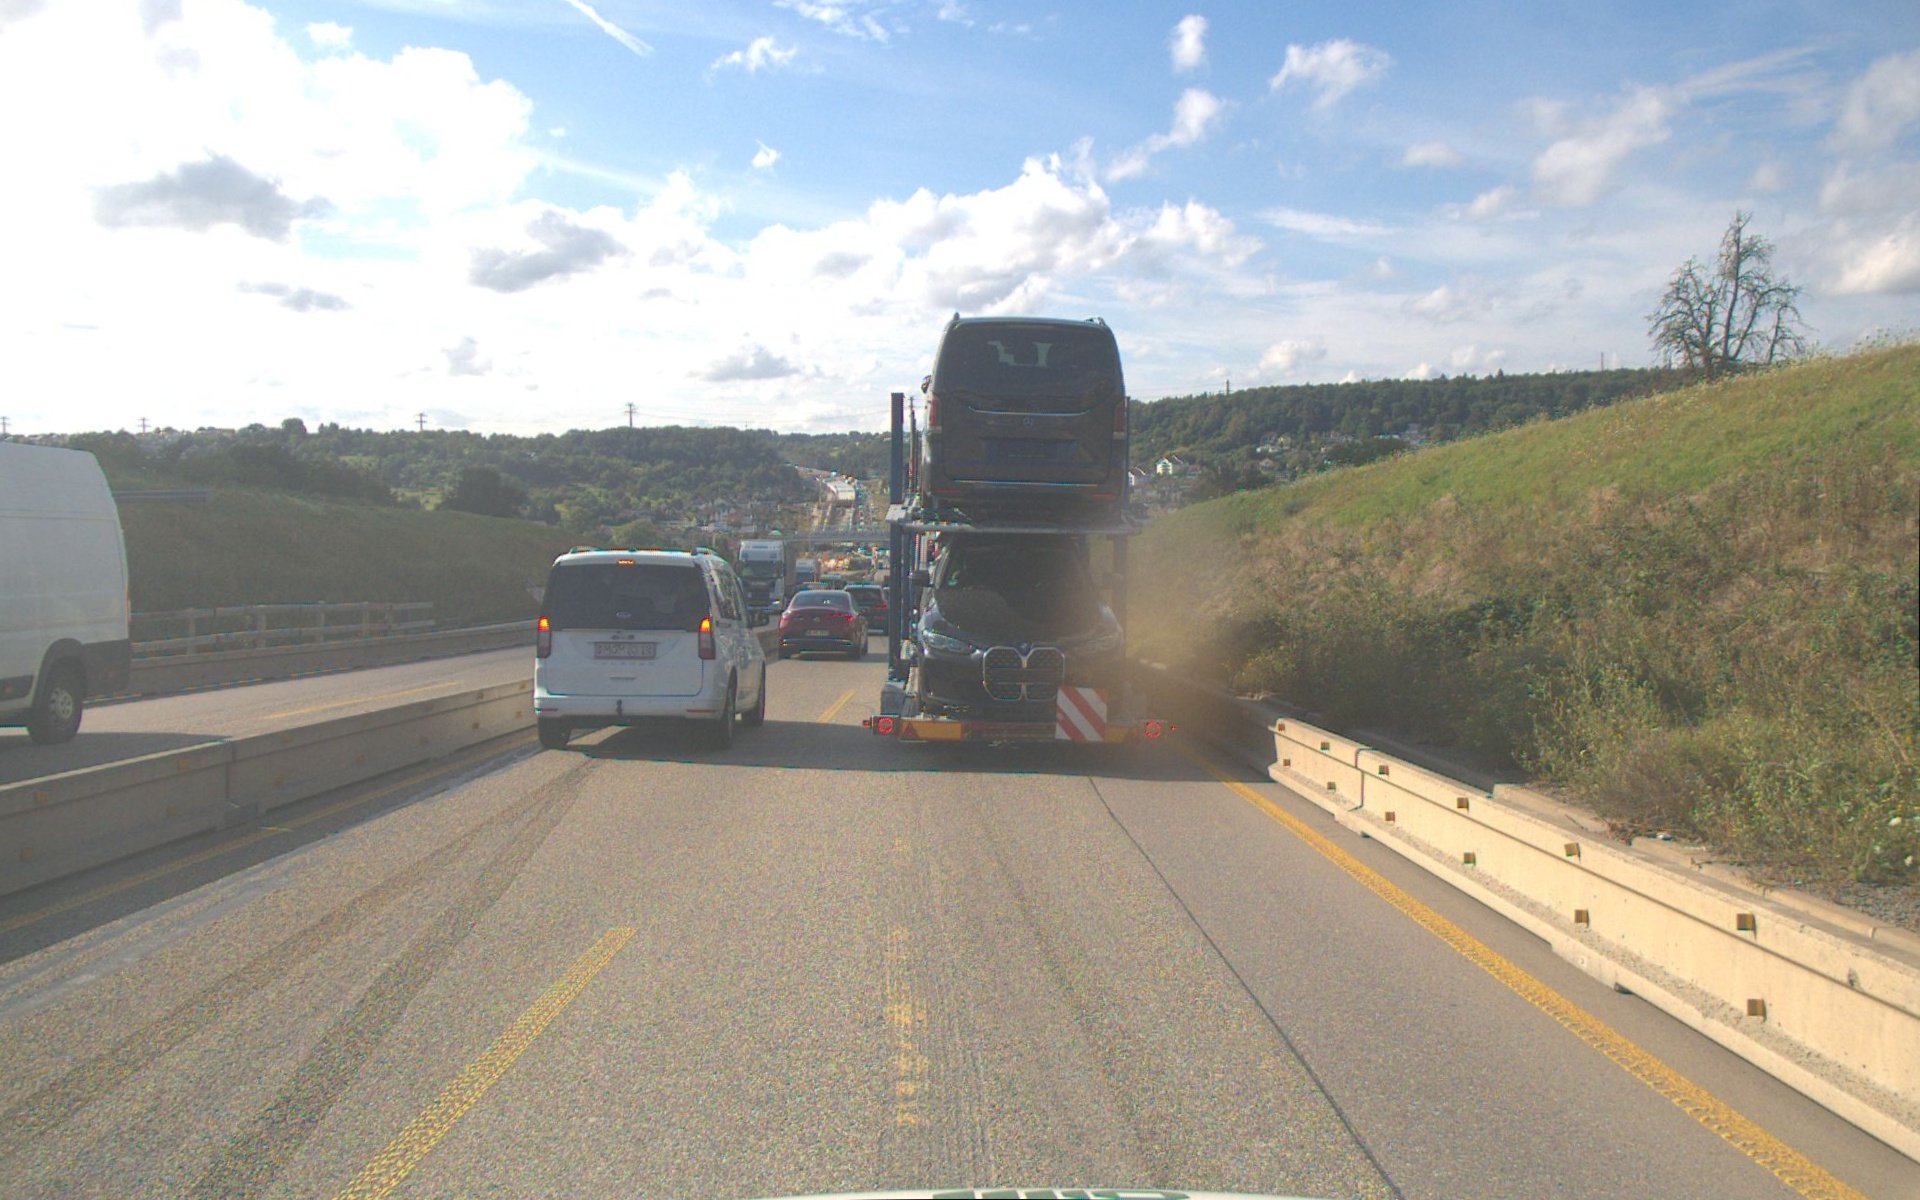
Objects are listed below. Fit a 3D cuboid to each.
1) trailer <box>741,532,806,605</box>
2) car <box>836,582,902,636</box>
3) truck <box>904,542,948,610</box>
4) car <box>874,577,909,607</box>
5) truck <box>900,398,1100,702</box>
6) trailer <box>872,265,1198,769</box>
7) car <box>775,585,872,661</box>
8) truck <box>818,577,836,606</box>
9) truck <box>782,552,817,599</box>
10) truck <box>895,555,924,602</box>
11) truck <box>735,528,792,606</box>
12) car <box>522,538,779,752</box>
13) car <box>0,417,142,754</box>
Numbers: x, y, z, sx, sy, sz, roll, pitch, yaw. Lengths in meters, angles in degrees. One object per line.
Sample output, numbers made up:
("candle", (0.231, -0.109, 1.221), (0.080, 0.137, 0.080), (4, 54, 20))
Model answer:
("trailer", (-10.959, -1.812, 98.433), (2.561, 4.023, 13.871), (0, 0, -1))
("car", (-2.995, 0.271, 55.339), (1.953, 1.653, 4.749), (2, 0, -1))
("truck", (-2.524, -1.659, 119.061), (2.806, 4.650, 11.651), (0, 0, -3))
("car", (-3.848, -0.453, 92.307), (1.761, 1.624, 4.738), (0, 0, -5))
("truck", (0.485, -0.678, 24.690), (2.623, 3.990, 6.026), (0, 0, -1))
("trailer", (0.547, -0.720, 19.175), (2.653, 4.099, 11.418), (0, 0, -1))
("car", (-2.993, 0.468, 37.062), (1.786, 1.518, 4.684), (1, 1, 0))
("truck", (-19.363, -1.240, 241.073), (2.586, 4.171, 10.809), (0, 0, -4))
("truck", (-14.633, -2.190, 151.383), (2.586, 4.171, 10.813), (0, 0, -3))
("truck", (-5.091, -2.136, 168.084), (2.806, 4.650, 11.655), (0, 0, -1))
("truck", (-10.865, -1.801, 91.752), (2.561, 4.226, 5.780), (0, 0, -1))
("car", (-2.982, 0.369, 16.854), (1.786, 1.855, 4.456), (1, 1, -1))
("car", (-9.230, -0.085, 13.446), (2.067, 2.885, 6.137), (-3, 0, -1))
